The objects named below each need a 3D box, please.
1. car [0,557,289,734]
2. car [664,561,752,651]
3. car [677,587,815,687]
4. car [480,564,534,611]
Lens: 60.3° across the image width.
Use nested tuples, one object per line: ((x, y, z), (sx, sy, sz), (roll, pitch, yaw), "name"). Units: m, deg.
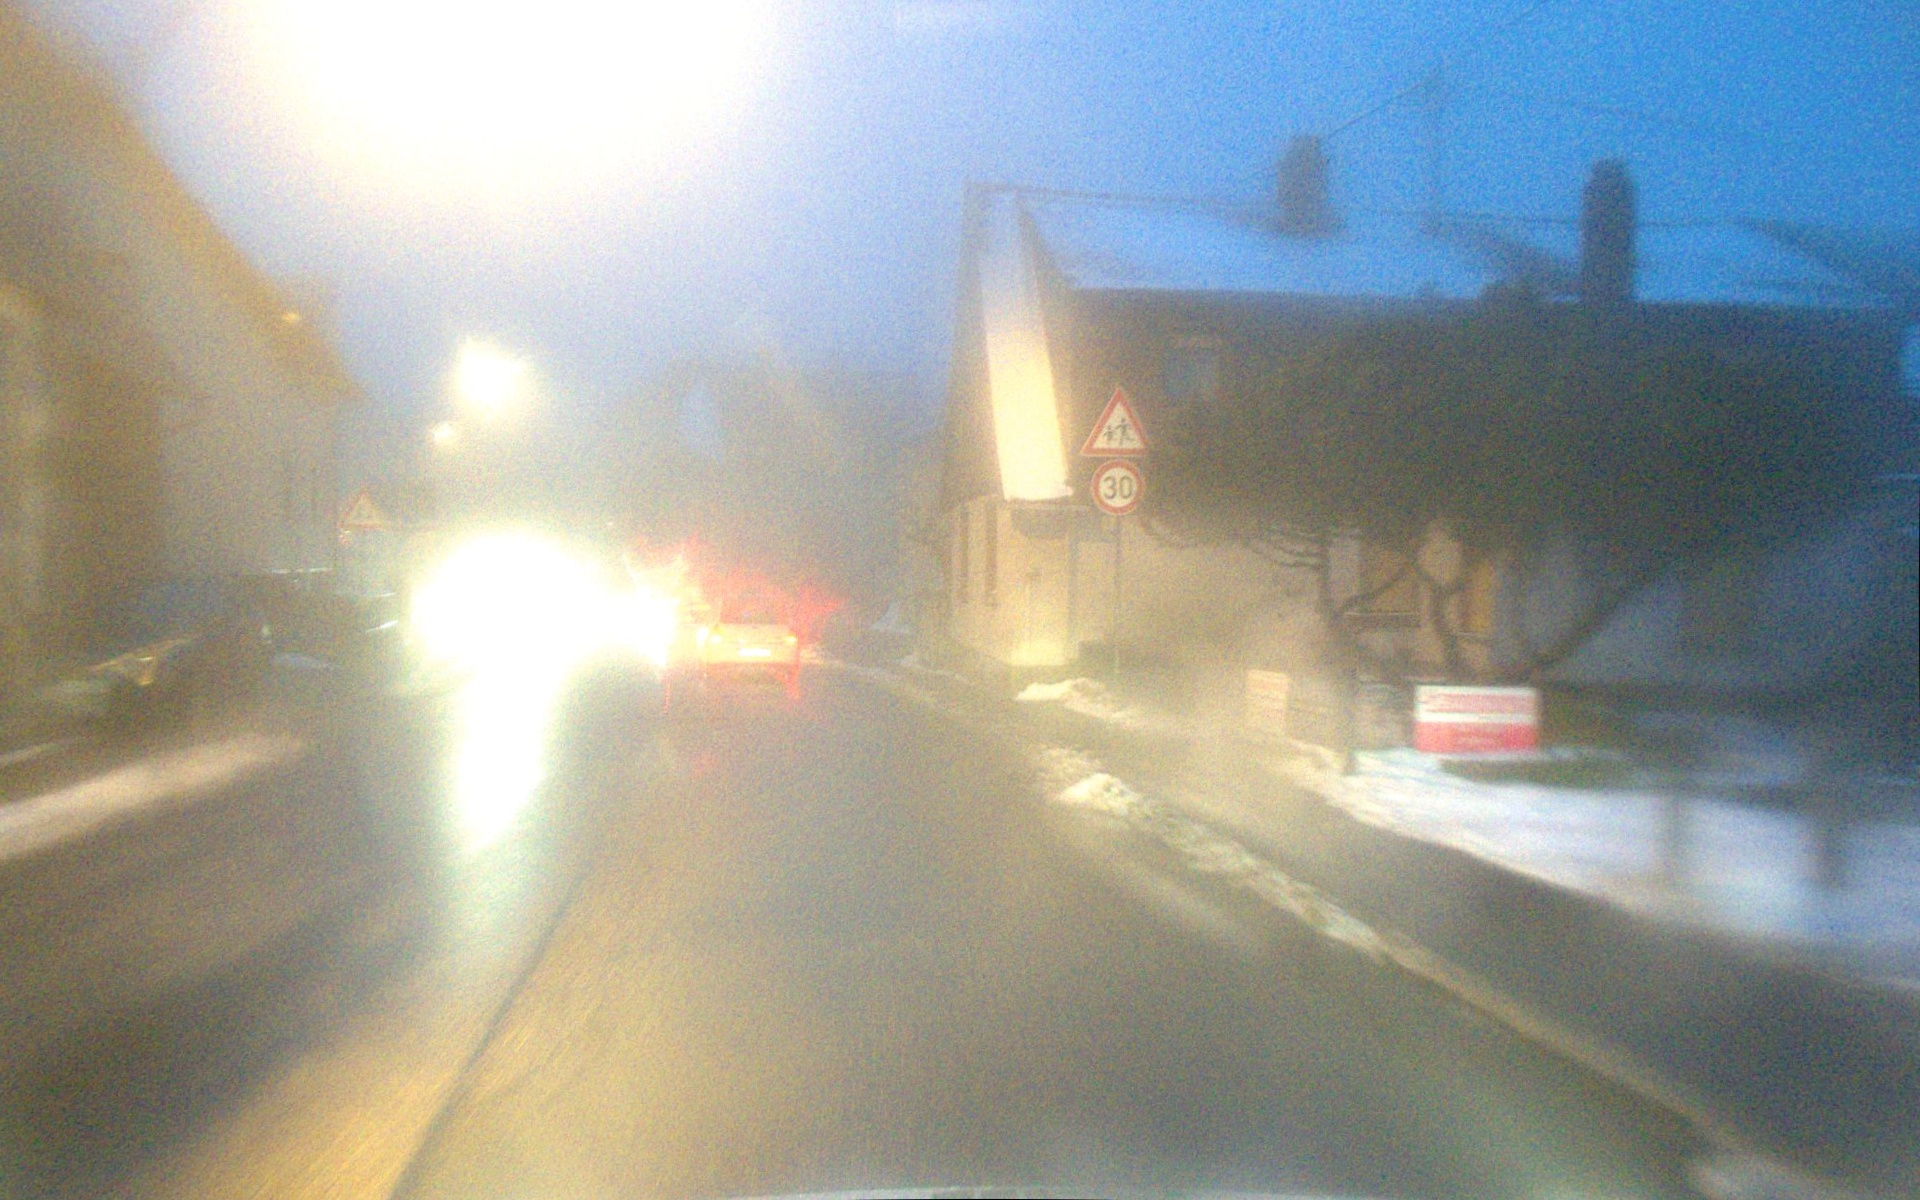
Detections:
((-8.479, 0.376, 17.197), (1.958, 1.549, 4.179), (3, 1, -11), "car")
((-6.271, 0.182, 41.498), (1.956, 2.049, 3.993), (3, -2, -7), "car")
((-3.831, 0.649, 29.034), (1.959, 1.534, 3.986), (3, -2, -13), "car")
((-17.184, -0.439, 62.846), (1.809, 1.717, 4.462), (0, 0, -13), "car")
